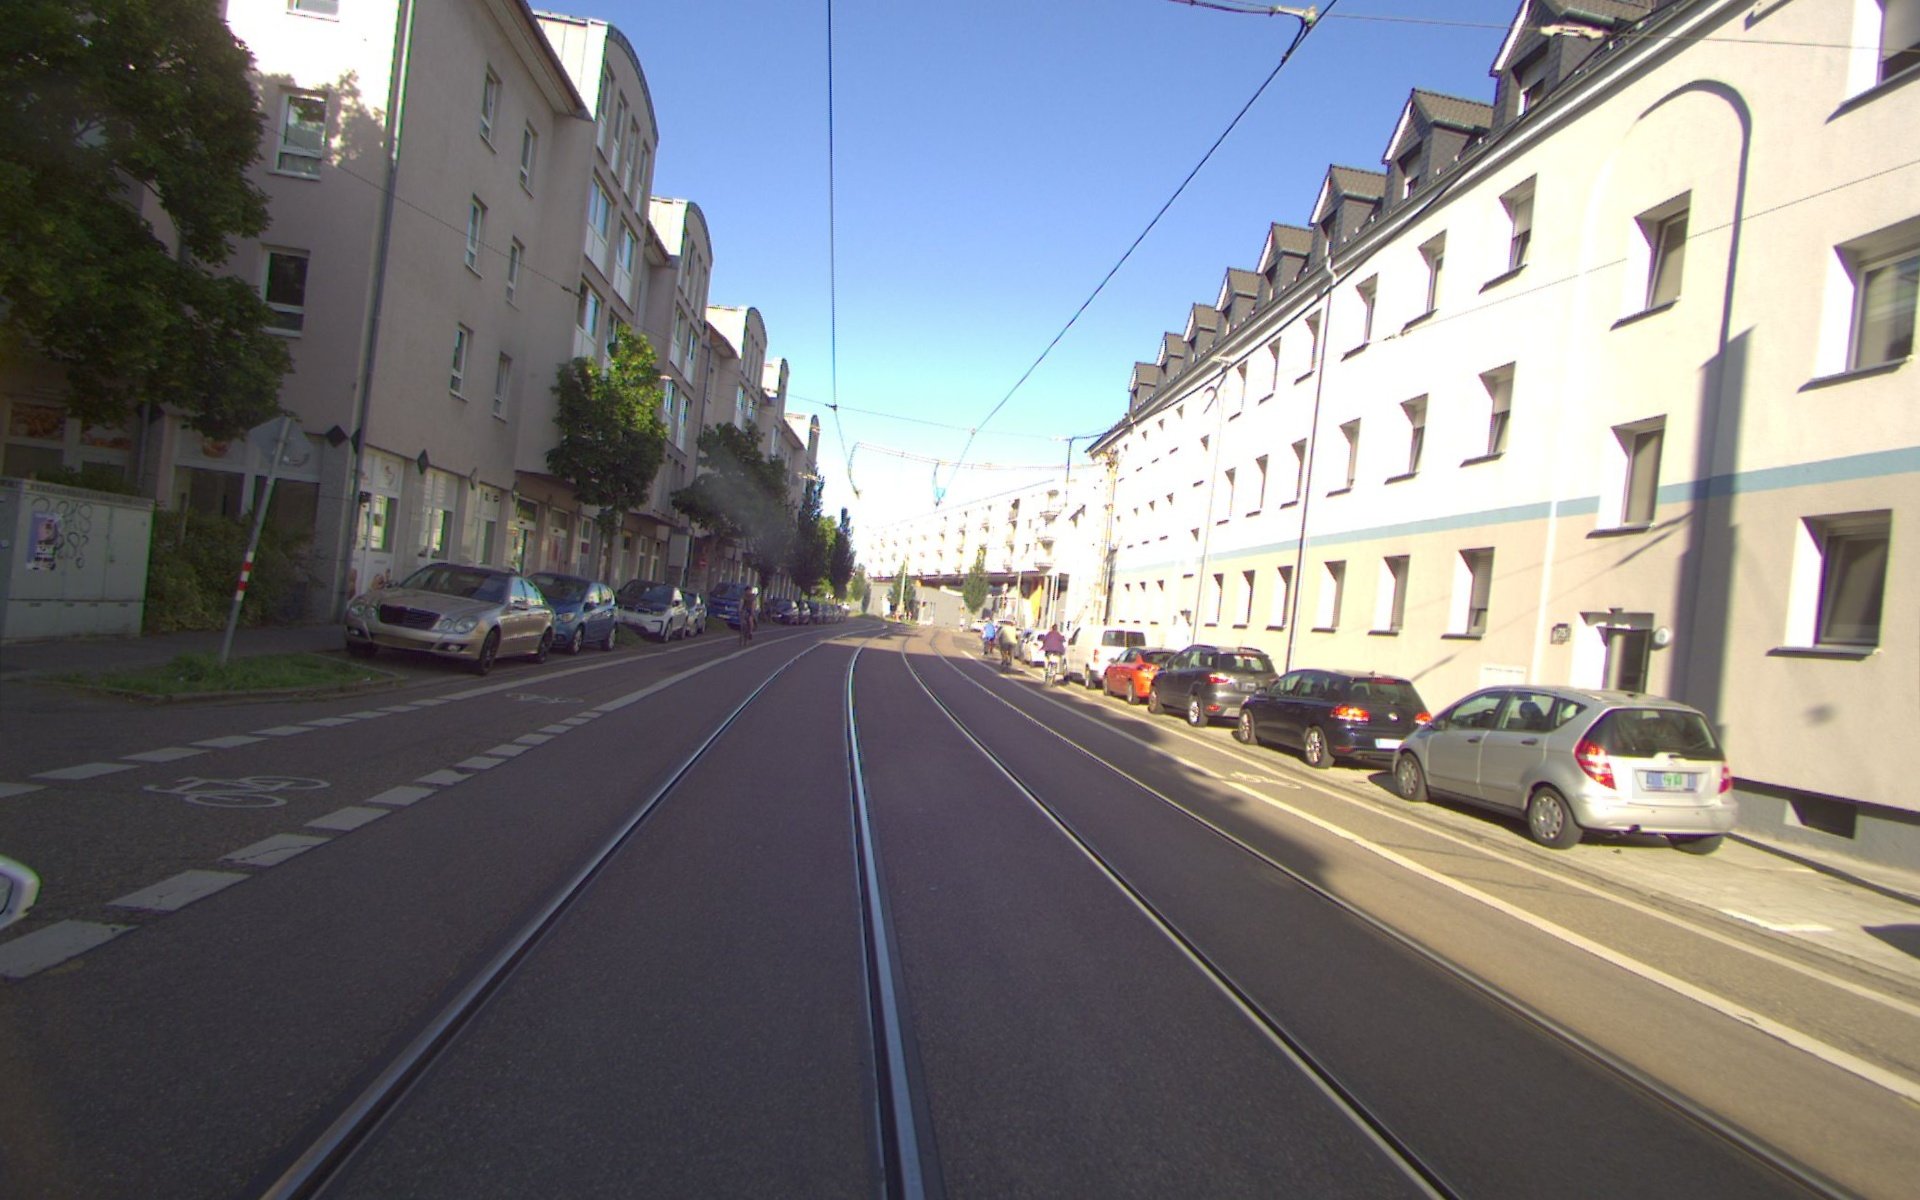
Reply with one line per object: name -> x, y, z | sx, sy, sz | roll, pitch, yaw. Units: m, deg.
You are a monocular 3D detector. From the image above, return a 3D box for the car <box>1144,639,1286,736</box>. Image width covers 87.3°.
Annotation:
car -> 5.347, 1.795, 21.602 | 1.635, 1.691, 3.901 | 3, -1, -6

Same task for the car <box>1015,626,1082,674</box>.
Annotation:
car -> 3.696, 2.055, 42.724 | 1.817, 1.665, 4.545 | 7, -1, -6

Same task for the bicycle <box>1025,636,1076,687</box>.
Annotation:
bicycle -> 2.642, 1.779, 29.541 | 0.809, 1.251, 2.460 | 8, -1, -7

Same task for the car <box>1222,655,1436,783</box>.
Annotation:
car -> 5.819, 1.821, 16.414 | 1.568, 1.556, 4.004 | 5, -1, -6

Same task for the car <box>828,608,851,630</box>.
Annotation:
car -> -10.446, 1.657, 87.402 | 1.817, 1.665, 3.695 | 7, -1, -6

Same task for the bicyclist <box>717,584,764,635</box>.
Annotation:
bicyclist -> -6.534, 0.280, 29.996 | 1.167, 1.346, 1.093 | 7, 0, -9

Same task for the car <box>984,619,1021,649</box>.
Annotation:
car -> 2.991, 2.373, 71.347 | 1.817, 1.777, 4.545 | 7, -1, -6

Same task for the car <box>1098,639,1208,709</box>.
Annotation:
car -> 4.955, 1.878, 26.344 | 1.769, 1.502, 3.776 | 3, -1, -6

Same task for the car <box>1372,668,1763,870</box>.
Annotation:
car -> 6.517, 1.730, 11.388 | 1.728, 1.590, 3.901 | 3, -1, -6

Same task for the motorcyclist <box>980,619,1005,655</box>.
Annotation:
motorcyclist -> 1.368, 1.551, 42.551 | 0.717, 1.422, 1.019 | 7, 0, -8

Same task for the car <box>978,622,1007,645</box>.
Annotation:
car -> 2.599, 2.696, 81.806 | 1.816, 1.665, 4.212 | 7, -1, -3

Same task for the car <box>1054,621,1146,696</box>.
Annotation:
car -> 4.290, 1.754, 31.446 | 1.760, 1.995, 4.152 | 5, -1, -6

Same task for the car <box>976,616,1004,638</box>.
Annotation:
car -> 2.544, 2.282, 86.345 | 1.816, 1.665, 4.347 | 7, -1, -3

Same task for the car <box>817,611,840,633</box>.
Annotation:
car -> -10.629, 1.764, 81.355 | 1.569, 1.559, 3.189 | 7, -1, -6

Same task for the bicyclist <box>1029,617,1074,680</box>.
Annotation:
bicyclist -> 2.671, 1.402, 29.468 | 0.921, 1.696, 0.968 | 7, 0, -8

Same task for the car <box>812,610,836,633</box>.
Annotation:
car -> -10.432, 1.656, 77.268 | 1.569, 1.559, 3.189 | 7, -1, -6

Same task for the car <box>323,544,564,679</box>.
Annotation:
car -> -7.402, 0.168, 14.912 | 1.720, 1.459, 3.996 | 9, -1, -7

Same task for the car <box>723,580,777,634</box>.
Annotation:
car -> -8.947, 0.319, 43.097 | 1.641, 2.010, 4.339 | 7, -1, -6

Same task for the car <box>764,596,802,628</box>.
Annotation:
car -> -10.275, 0.706, 58.597 | 1.640, 1.637, 3.999 | 7, -1, -4

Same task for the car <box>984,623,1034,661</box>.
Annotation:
car -> 2.478, 2.131, 51.907 | 1.817, 1.665, 3.962 | 7, -1, -6

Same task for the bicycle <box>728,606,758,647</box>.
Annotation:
bicycle -> -6.453, 0.778, 29.986 | 0.613, 1.115, 1.958 | 5, -1, -8

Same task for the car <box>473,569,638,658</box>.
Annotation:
car -> -8.168, 0.284, 20.735 | 1.802, 1.508, 3.999 | 5, -1, -2

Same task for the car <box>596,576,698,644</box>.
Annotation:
car -> -8.859, 0.296, 28.844 | 1.803, 1.612, 3.998 | 7, -1, -5

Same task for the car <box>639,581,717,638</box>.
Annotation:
car -> -9.454, 0.324, 34.052 | 1.804, 1.612, 3.996 | 7, -1, -7
